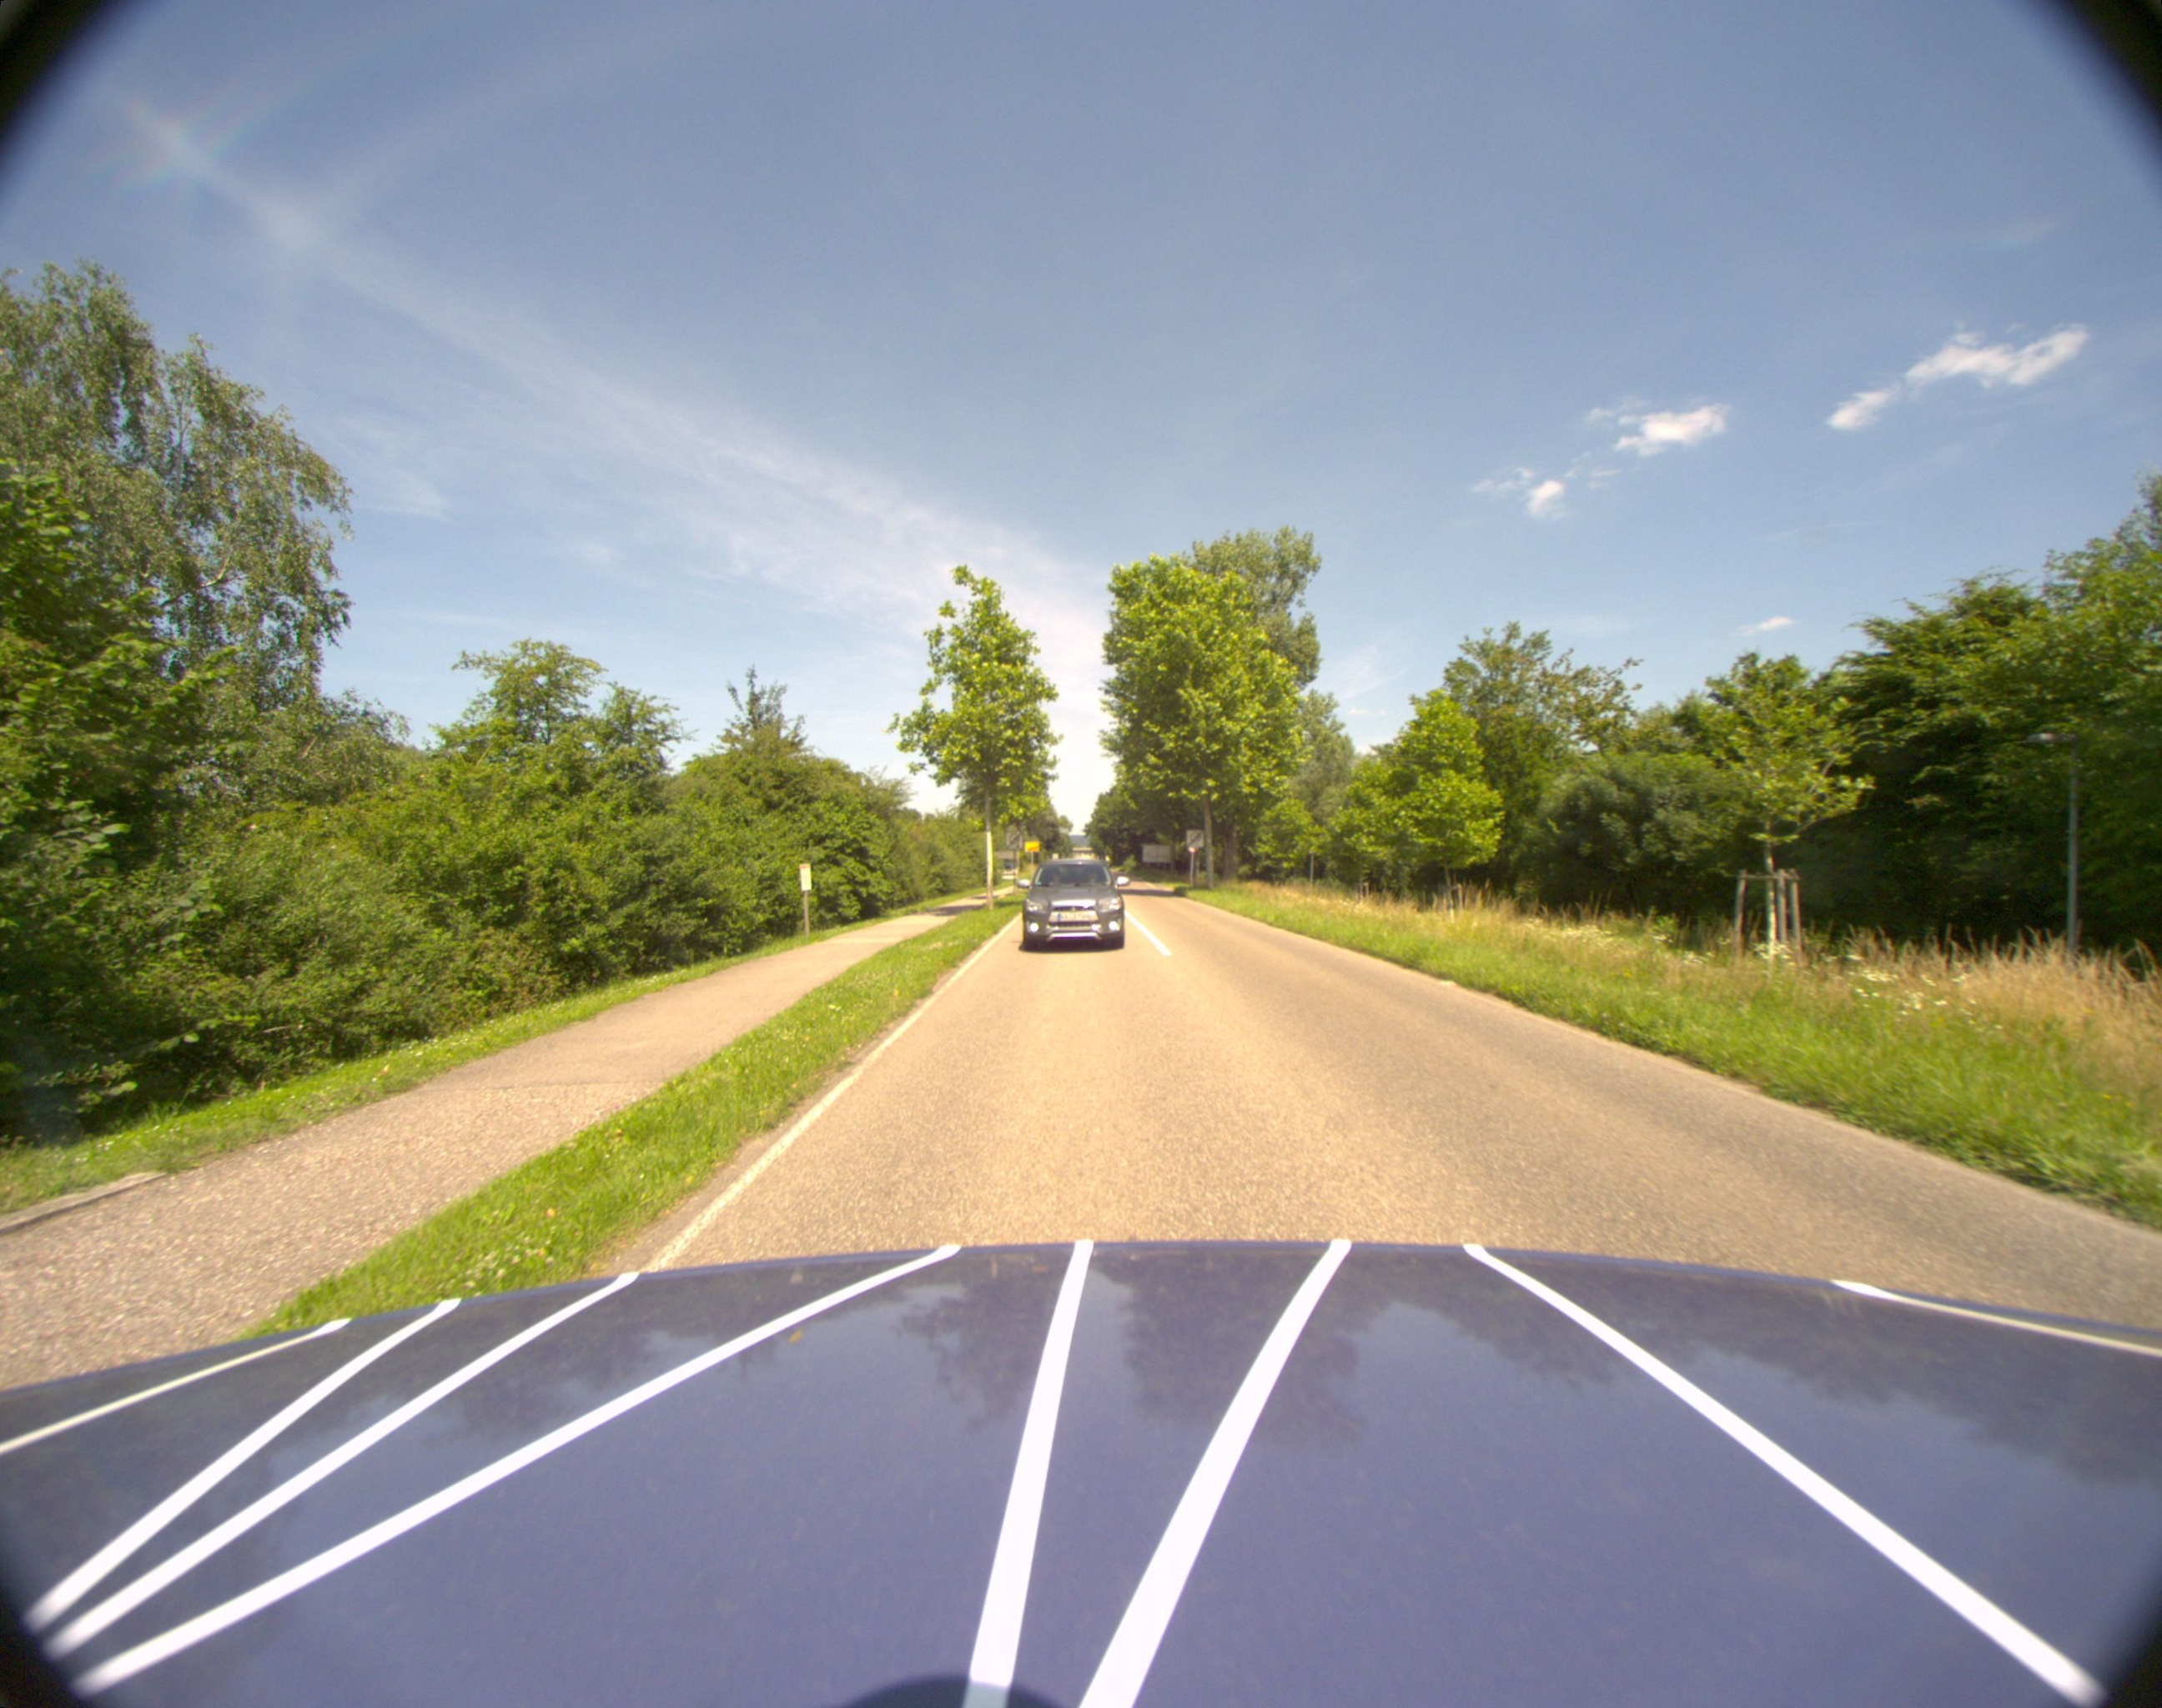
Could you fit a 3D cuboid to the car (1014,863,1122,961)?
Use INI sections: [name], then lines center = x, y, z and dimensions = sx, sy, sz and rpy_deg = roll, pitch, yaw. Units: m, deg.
[car]
center = -0.212, 0.973, 14.733
dimensions = 1.750, 1.525, 4.524
rpy_deg = -1, 0, 0
